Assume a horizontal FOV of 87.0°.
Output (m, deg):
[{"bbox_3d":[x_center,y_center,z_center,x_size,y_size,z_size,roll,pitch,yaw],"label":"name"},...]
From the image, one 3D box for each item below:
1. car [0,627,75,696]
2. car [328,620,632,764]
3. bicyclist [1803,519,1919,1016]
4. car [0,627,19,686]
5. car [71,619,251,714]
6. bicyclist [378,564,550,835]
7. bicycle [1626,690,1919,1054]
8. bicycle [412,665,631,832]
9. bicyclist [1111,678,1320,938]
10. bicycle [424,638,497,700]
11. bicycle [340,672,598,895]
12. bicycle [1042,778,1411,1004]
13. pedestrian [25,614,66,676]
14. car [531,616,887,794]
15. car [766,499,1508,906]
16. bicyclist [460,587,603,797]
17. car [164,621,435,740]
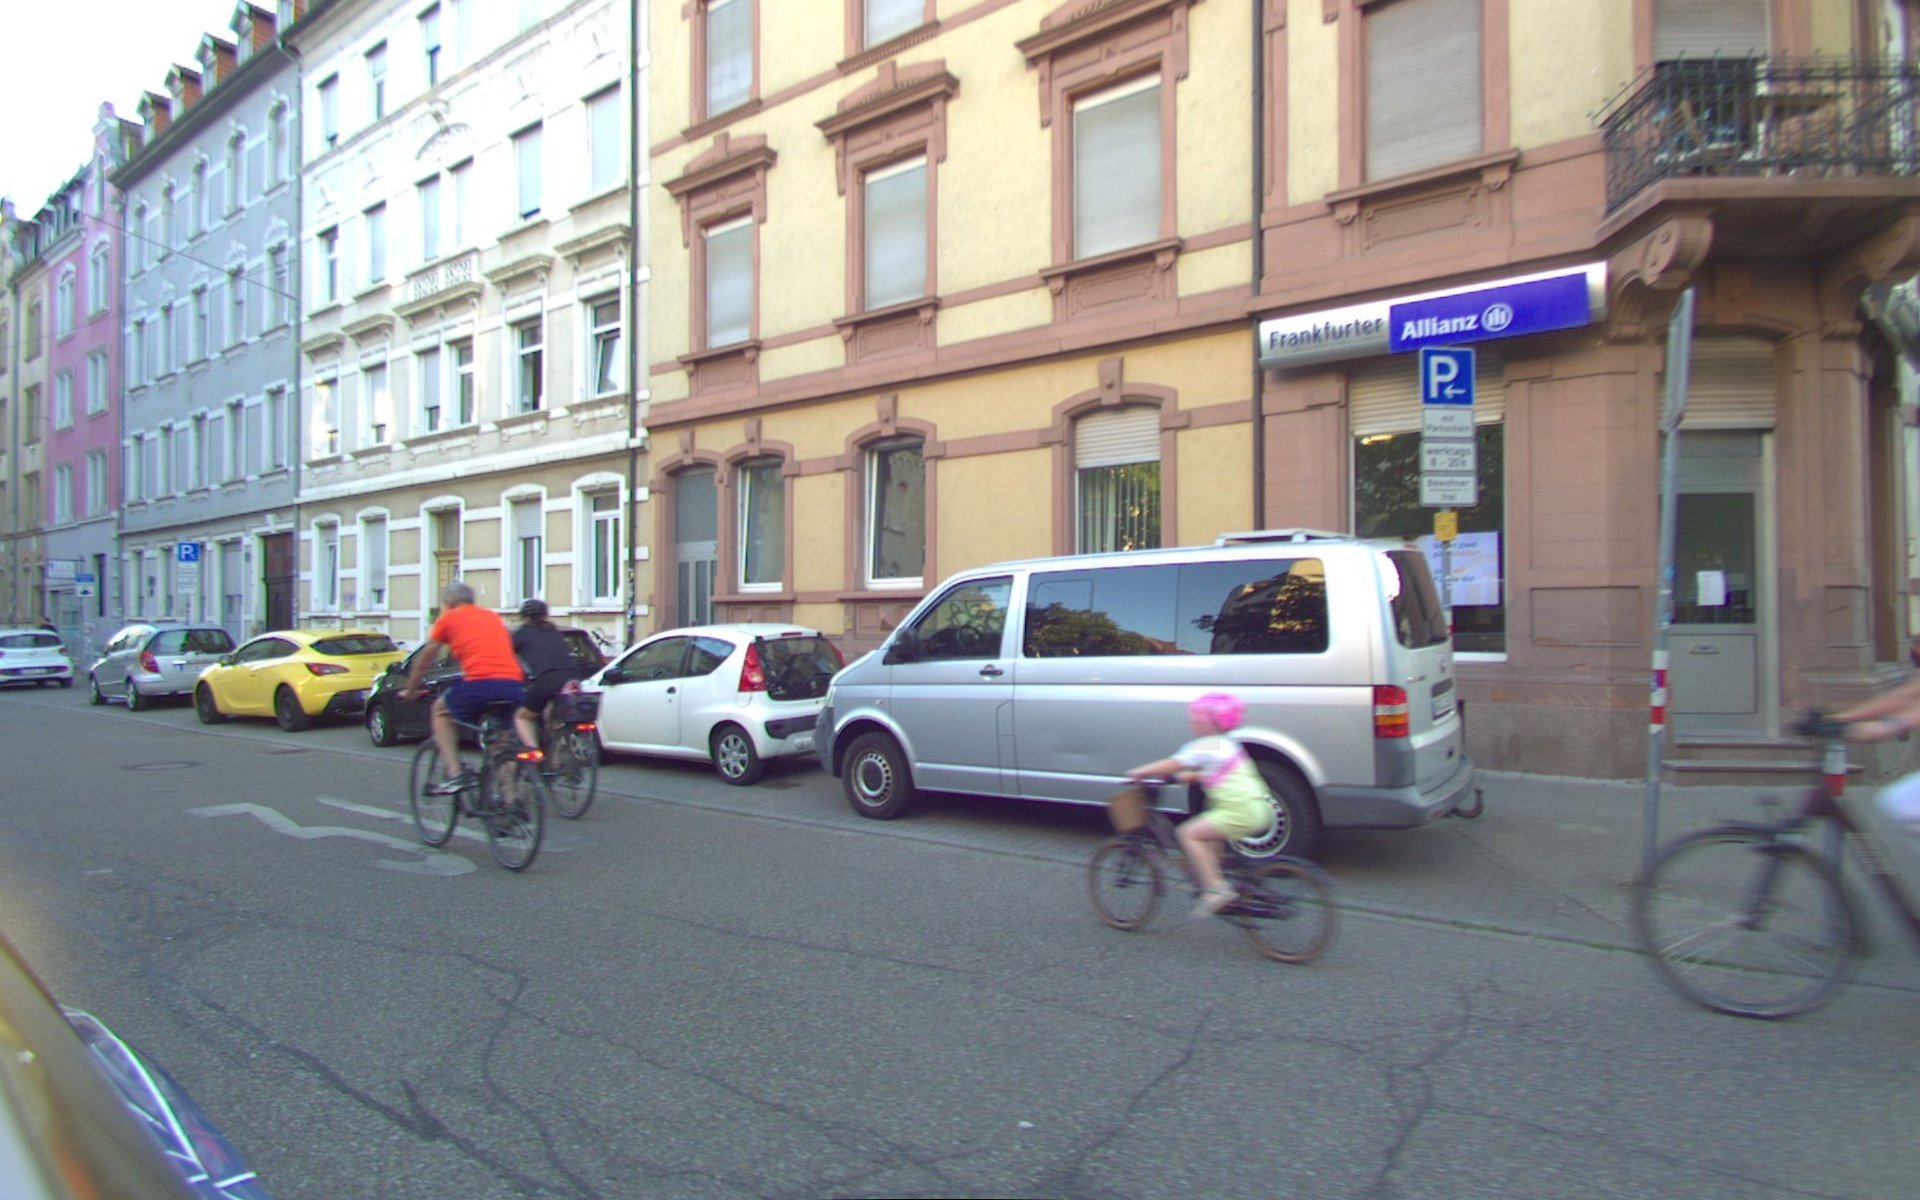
[{"bbox_3d":[-24.349,1.543,25.911,3.920,1.588,1.737,-2,0,37],"label":"car"},{"bbox_3d":[-6.058,1.051,12.679,3.730,1.502,1.716,-2,0,32],"label":"car"},{"bbox_3d":[3.564,0.536,3.437,0.870,1.595,0.720,-1,-2,24],"label":"bicyclist"},{"bbox_3d":[-28.659,1.638,28.737,4.660,1.604,1.818,-2,0,34],"label":"car"},{"bbox_3d":[-15.598,1.225,19.690,4.139,1.604,1.783,-2,0,38],"label":"car"},{"bbox_3d":[-3.080,0.576,6.286,0.866,1.537,0.646,-2,-2,38],"label":"bicyclist"},{"bbox_3d":[3.552,0.902,3.431,2.035,1.103,0.723,-1,-2,24],"label":"bicycle"},{"bbox_3d":[-3.541,1.112,8.095,2.011,1.115,0.714,-1,-2,37],"label":"bicycle"},{"bbox_3d":[1.144,0.866,4.512,0.728,0.984,0.641,-1,-2,34],"label":"bicyclist"},{"bbox_3d":[-9.583,1.303,19.389,1.860,1.149,0.475,-2,-2,37],"label":"bicycle"},{"bbox_3d":[-3.106,1.044,6.305,2.012,1.115,0.643,-2,-2,39],"label":"bicycle"},{"bbox_3d":[1.157,1.216,4.495,1.460,0.647,0.644,-1,-2,34],"label":"bicycle"},{"bbox_3d":[-29.482,1.440,32.622,0.833,1.964,0.841,-2,-2,40],"label":"pedestrian"},{"bbox_3d":[-2.694,0.967,10.596,3.605,1.502,1.669,-2,0,36],"label":"car"},{"bbox_3d":[1.055,0.555,7.461,4.996,2.072,2.022,-2,0,37],"label":"car"},{"bbox_3d":[-3.375,0.690,7.979,0.865,1.537,0.707,-2,-2,37],"label":"bicyclist"},{"bbox_3d":[-10.424,1.168,15.858,4.788,1.537,1.824,-2,0,34],"label":"car"}]
